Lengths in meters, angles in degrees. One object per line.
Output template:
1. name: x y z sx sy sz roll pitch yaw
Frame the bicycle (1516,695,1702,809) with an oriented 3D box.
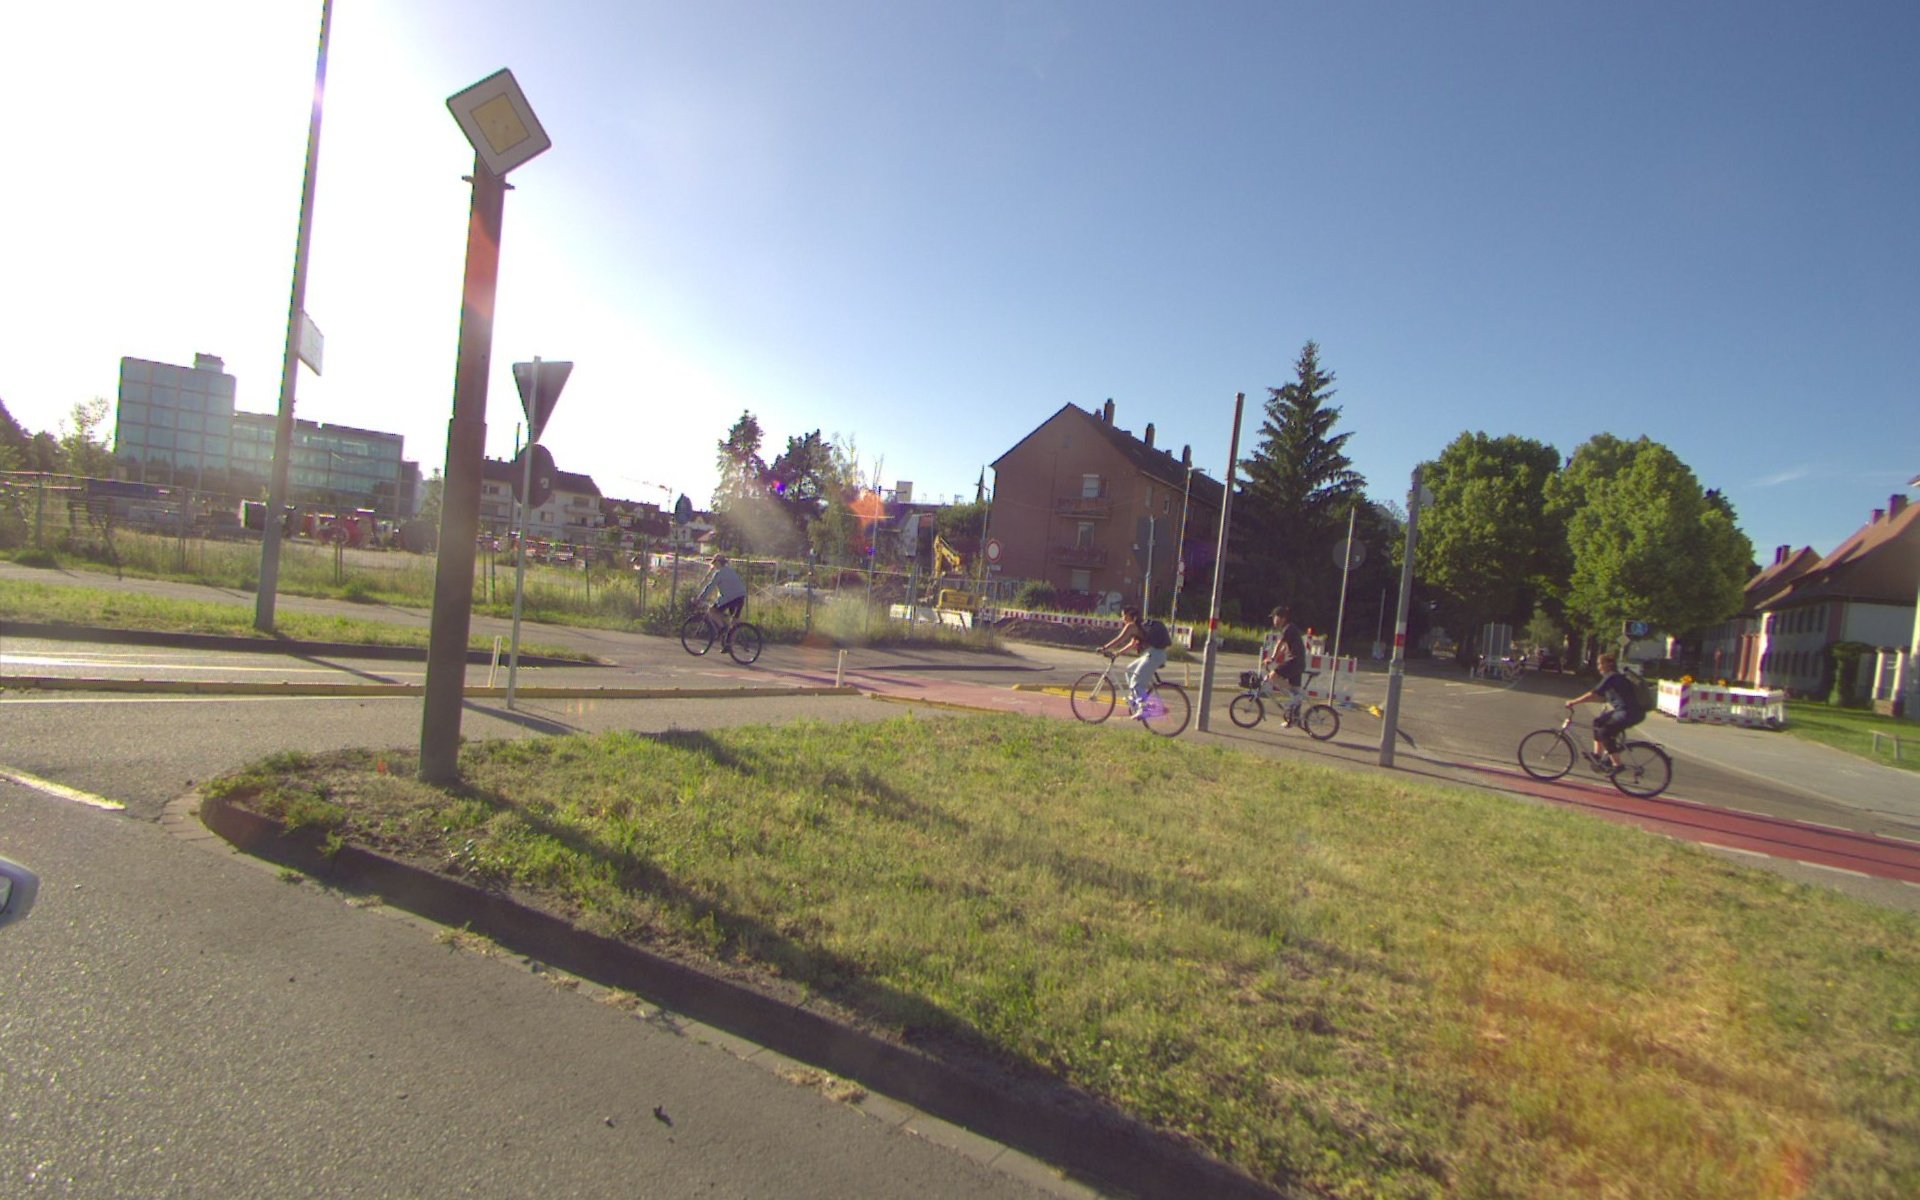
1. bicycle: 8.031 1.850 12.530 1.794 1.040 0.659 8 1 33

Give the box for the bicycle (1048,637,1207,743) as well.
1. bicycle: 2.136 1.134 12.917 1.793 1.040 0.659 8 1 30

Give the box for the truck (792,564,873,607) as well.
1. truck: -8.335 -0.990 65.102 2.154 2.038 6.369 8 0 -37

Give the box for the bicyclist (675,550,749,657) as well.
1. bicyclist: -4.262 0.045 17.318 0.838 1.704 0.741 8 4 15

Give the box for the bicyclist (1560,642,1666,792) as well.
1. bicyclist: 8.103 1.430 12.514 0.884 1.685 0.659 8 1 33

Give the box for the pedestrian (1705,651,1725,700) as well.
1. pedestrian: 32.054 3.198 42.712 0.465 2.040 0.453 8 3 39

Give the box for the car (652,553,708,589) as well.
1. car: -20.944 -2.180 75.112 1.988 2.038 4.442 8 0 -44

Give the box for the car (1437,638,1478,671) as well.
1. car: 35.143 3.887 70.955 1.967 1.894 3.992 8 0 33

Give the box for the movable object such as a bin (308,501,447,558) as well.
1. movable object such as a bin: -40.140 -4.851 69.484 7.865 2.818 2.912 7 1 -38

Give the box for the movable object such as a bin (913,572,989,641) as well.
1. movable object such as a bin: -0.479 0.254 47.163 2.390 2.807 3.988 8 0 -14

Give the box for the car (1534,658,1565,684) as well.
1. car: 50.808 6.131 86.647 1.967 1.894 3.992 8 0 33

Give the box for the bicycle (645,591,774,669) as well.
1. bicycle: -4.314 0.497 17.365 1.972 1.042 0.741 8 4 15

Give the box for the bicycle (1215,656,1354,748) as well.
1. bicycle: 4.785 1.483 14.863 1.790 1.040 0.660 8 1 23

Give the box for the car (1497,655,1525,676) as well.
1. car: 51.871 6.172 94.683 1.967 1.721 3.991 7 0 32

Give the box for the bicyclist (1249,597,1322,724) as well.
1. bicyclist: 4.820 0.880 14.869 0.798 1.751 0.654 7 1 23

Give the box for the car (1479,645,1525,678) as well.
1. car: 37.380 4.263 69.330 1.970 1.923 3.985 7 0 38

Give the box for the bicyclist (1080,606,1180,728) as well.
1. bicyclist: 2.181 0.852 12.898 0.919 1.402 0.659 8 1 30
